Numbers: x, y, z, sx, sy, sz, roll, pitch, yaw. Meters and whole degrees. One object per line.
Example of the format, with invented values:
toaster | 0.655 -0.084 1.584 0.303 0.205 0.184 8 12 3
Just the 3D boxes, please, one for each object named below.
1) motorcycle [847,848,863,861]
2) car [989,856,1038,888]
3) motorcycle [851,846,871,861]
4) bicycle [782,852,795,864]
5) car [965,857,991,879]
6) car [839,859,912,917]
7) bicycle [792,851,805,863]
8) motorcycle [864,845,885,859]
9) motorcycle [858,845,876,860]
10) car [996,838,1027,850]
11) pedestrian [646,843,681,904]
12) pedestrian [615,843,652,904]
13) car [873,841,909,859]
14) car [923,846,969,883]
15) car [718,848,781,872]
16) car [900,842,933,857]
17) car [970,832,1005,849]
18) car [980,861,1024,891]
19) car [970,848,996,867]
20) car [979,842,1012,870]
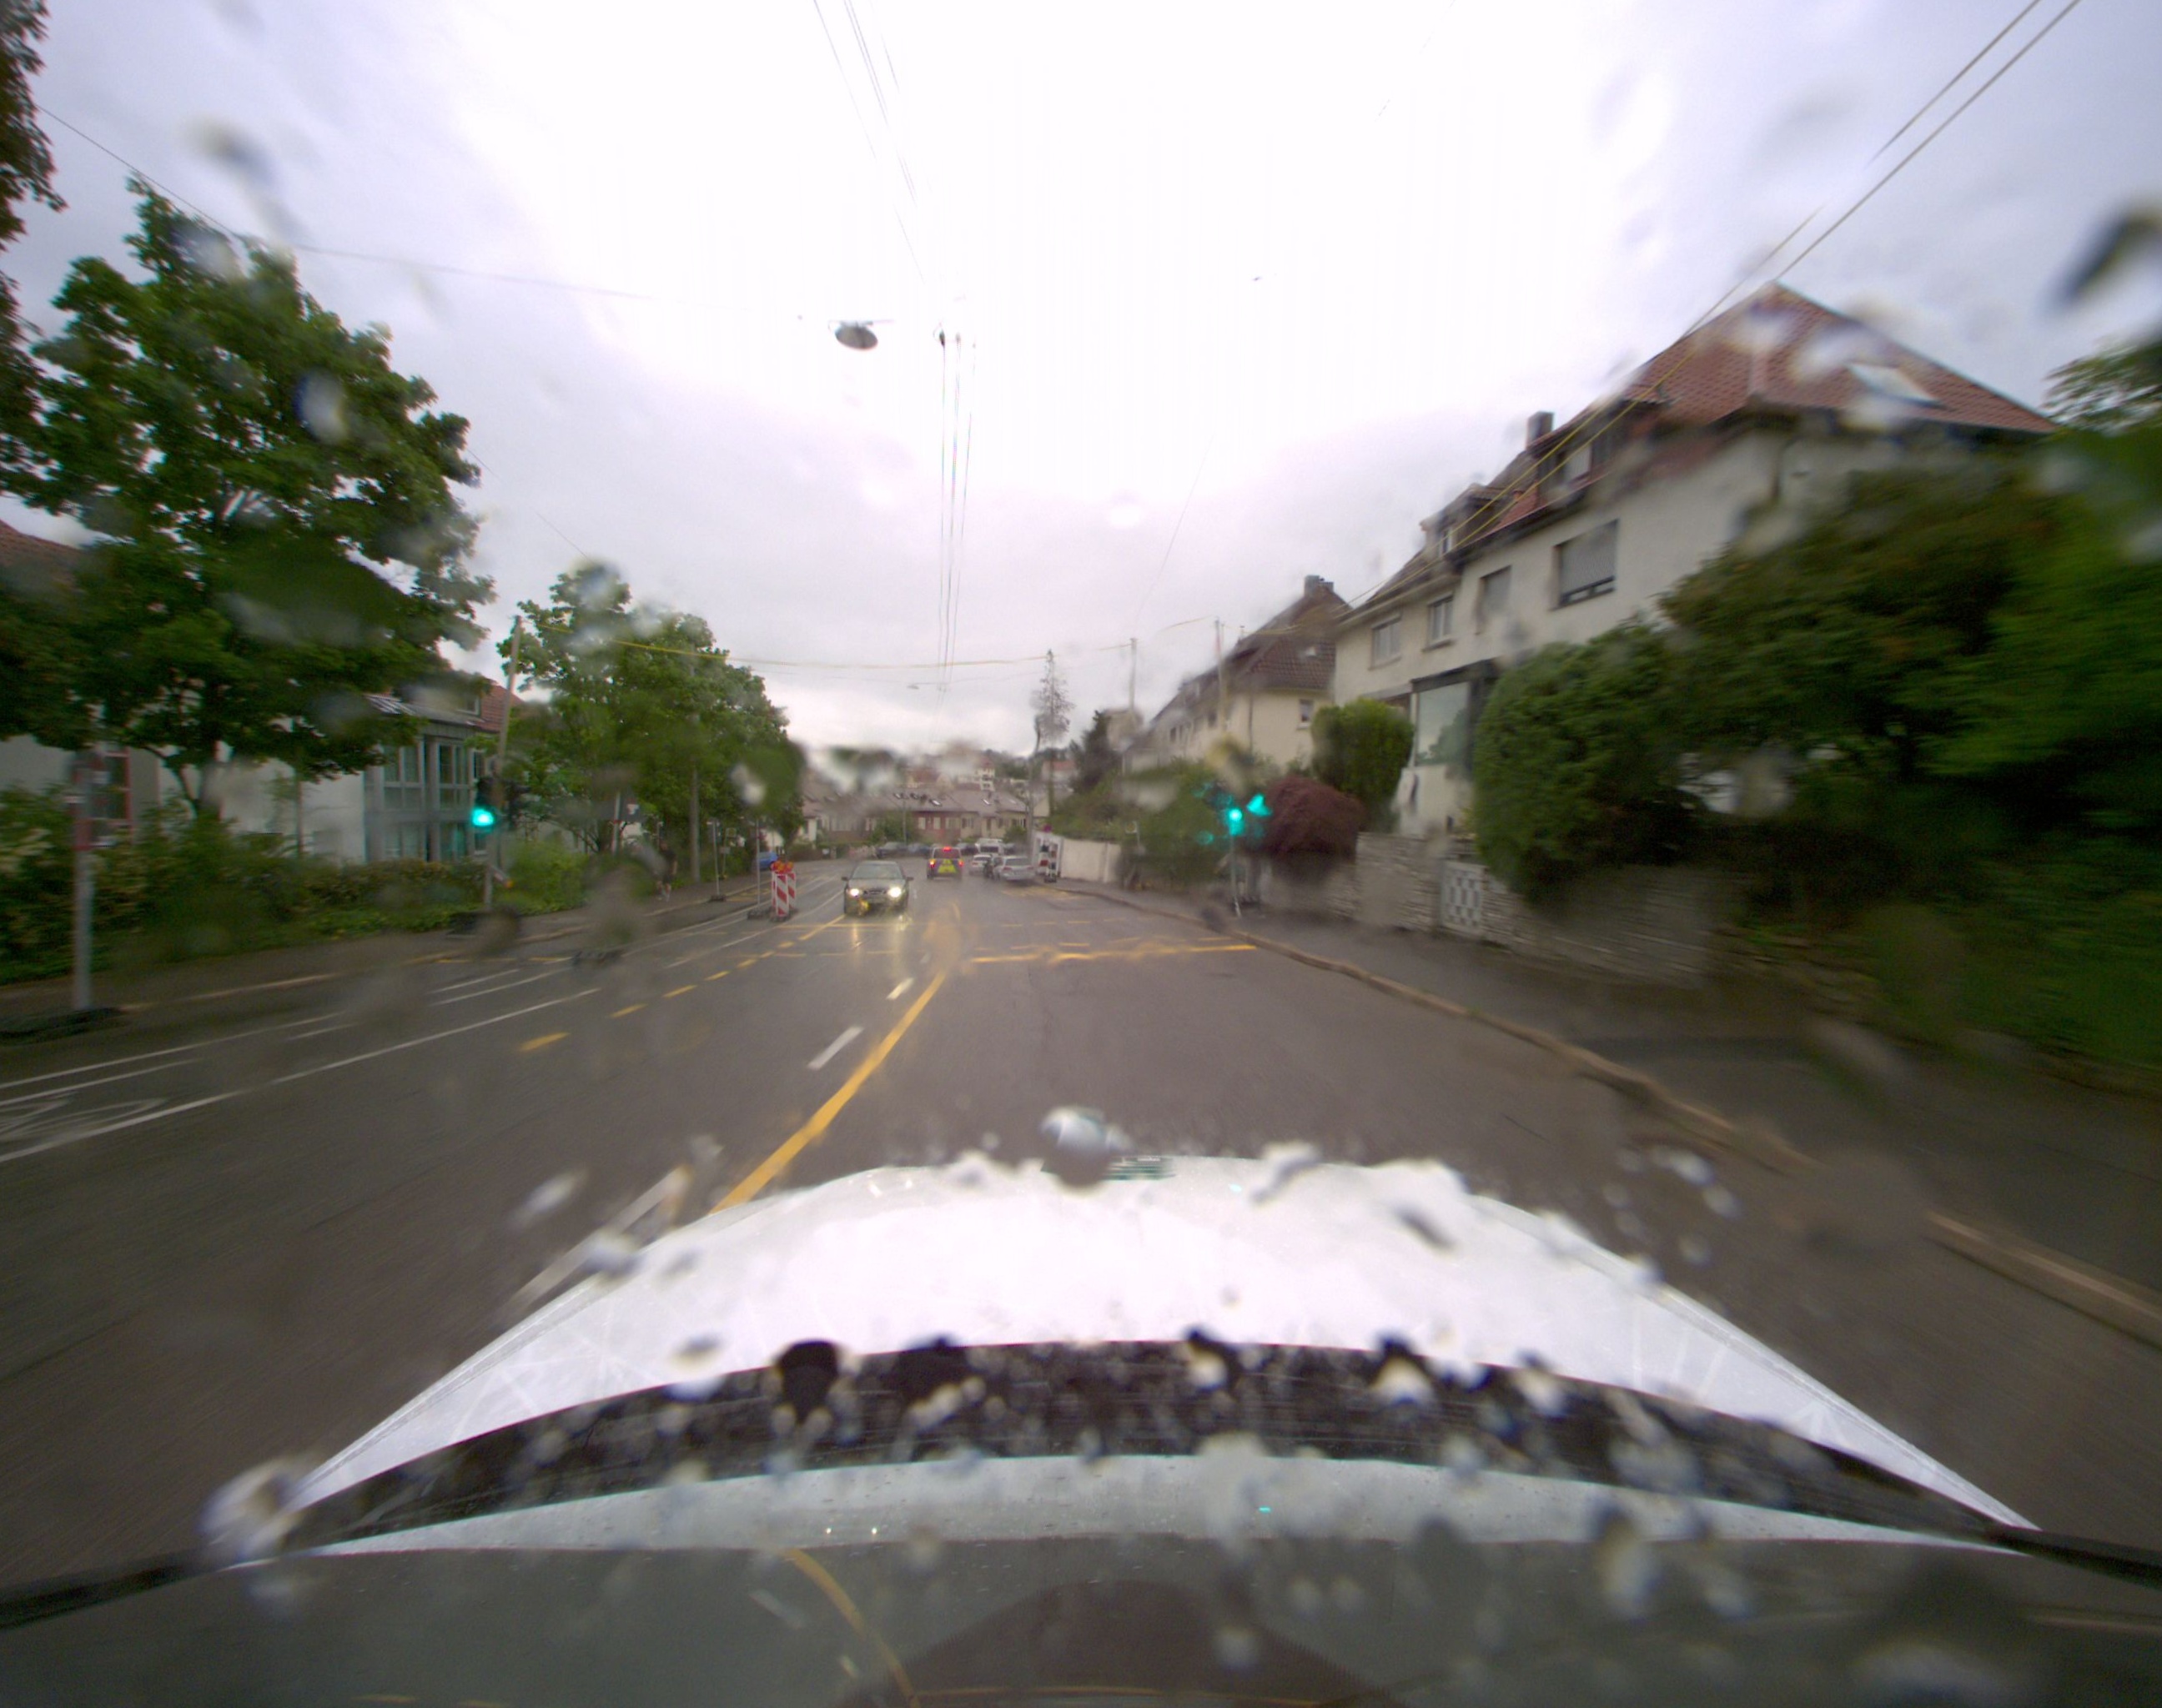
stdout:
motorcycle | -21.081 -0.004 75.943 0.505 1.139 1.930 0 2 16
car | -3.385 0.850 40.261 1.783 1.420 4.410 -1 0 -13
motorcycle | -20.942 -0.053 77.575 1.791 1.279 0.512 3 2 8
bicycle | -27.451 0.348 76.360 1.311 1.035 0.307 -3 -3 27
car | -7.409 0.980 58.532 1.705 1.414 4.028 0 0 -10
car | -5.962 0.918 24.062 1.699 1.461 4.668 -1 1 -10
bicycle | -26.227 0.285 75.693 1.287 1.035 0.307 -3 -3 25
motorcycle | -20.357 -0.168 80.168 1.908 1.271 0.571 2 2 -23
motorcycle | -20.656 -0.123 78.572 1.785 1.303 0.617 5 3 37
car | -9.442 -1.329 110.440 1.791 1.476 4.551 5 3 31
pedestrian | -12.966 0.588 25.323 0.708 1.816 1.142 1 1 -14
pedestrian | -13.765 0.570 25.087 0.681 1.816 1.150 1 1 -13
car | -19.581 -0.434 84.181 1.910 1.576 4.401 4 3 10
car | -7.884 0.581 47.298 2.311 1.939 4.305 -3 0 -13
car | -24.455 0.447 60.172 1.818 1.666 3.966 0 -1 41
car | -18.002 -0.514 89.409 1.687 1.404 4.492 4 3 15
car | -12.090 -1.709 105.268 1.831 2.078 5.051 4 2 28
car | -4.397 1.176 45.033 1.717 1.513 3.978 -1 0 -16
car | -8.493 0.273 70.794 1.748 1.495 4.184 1 1 0
car | -7.976 0.142 76.389 2.089 2.542 5.627 1 1 4
